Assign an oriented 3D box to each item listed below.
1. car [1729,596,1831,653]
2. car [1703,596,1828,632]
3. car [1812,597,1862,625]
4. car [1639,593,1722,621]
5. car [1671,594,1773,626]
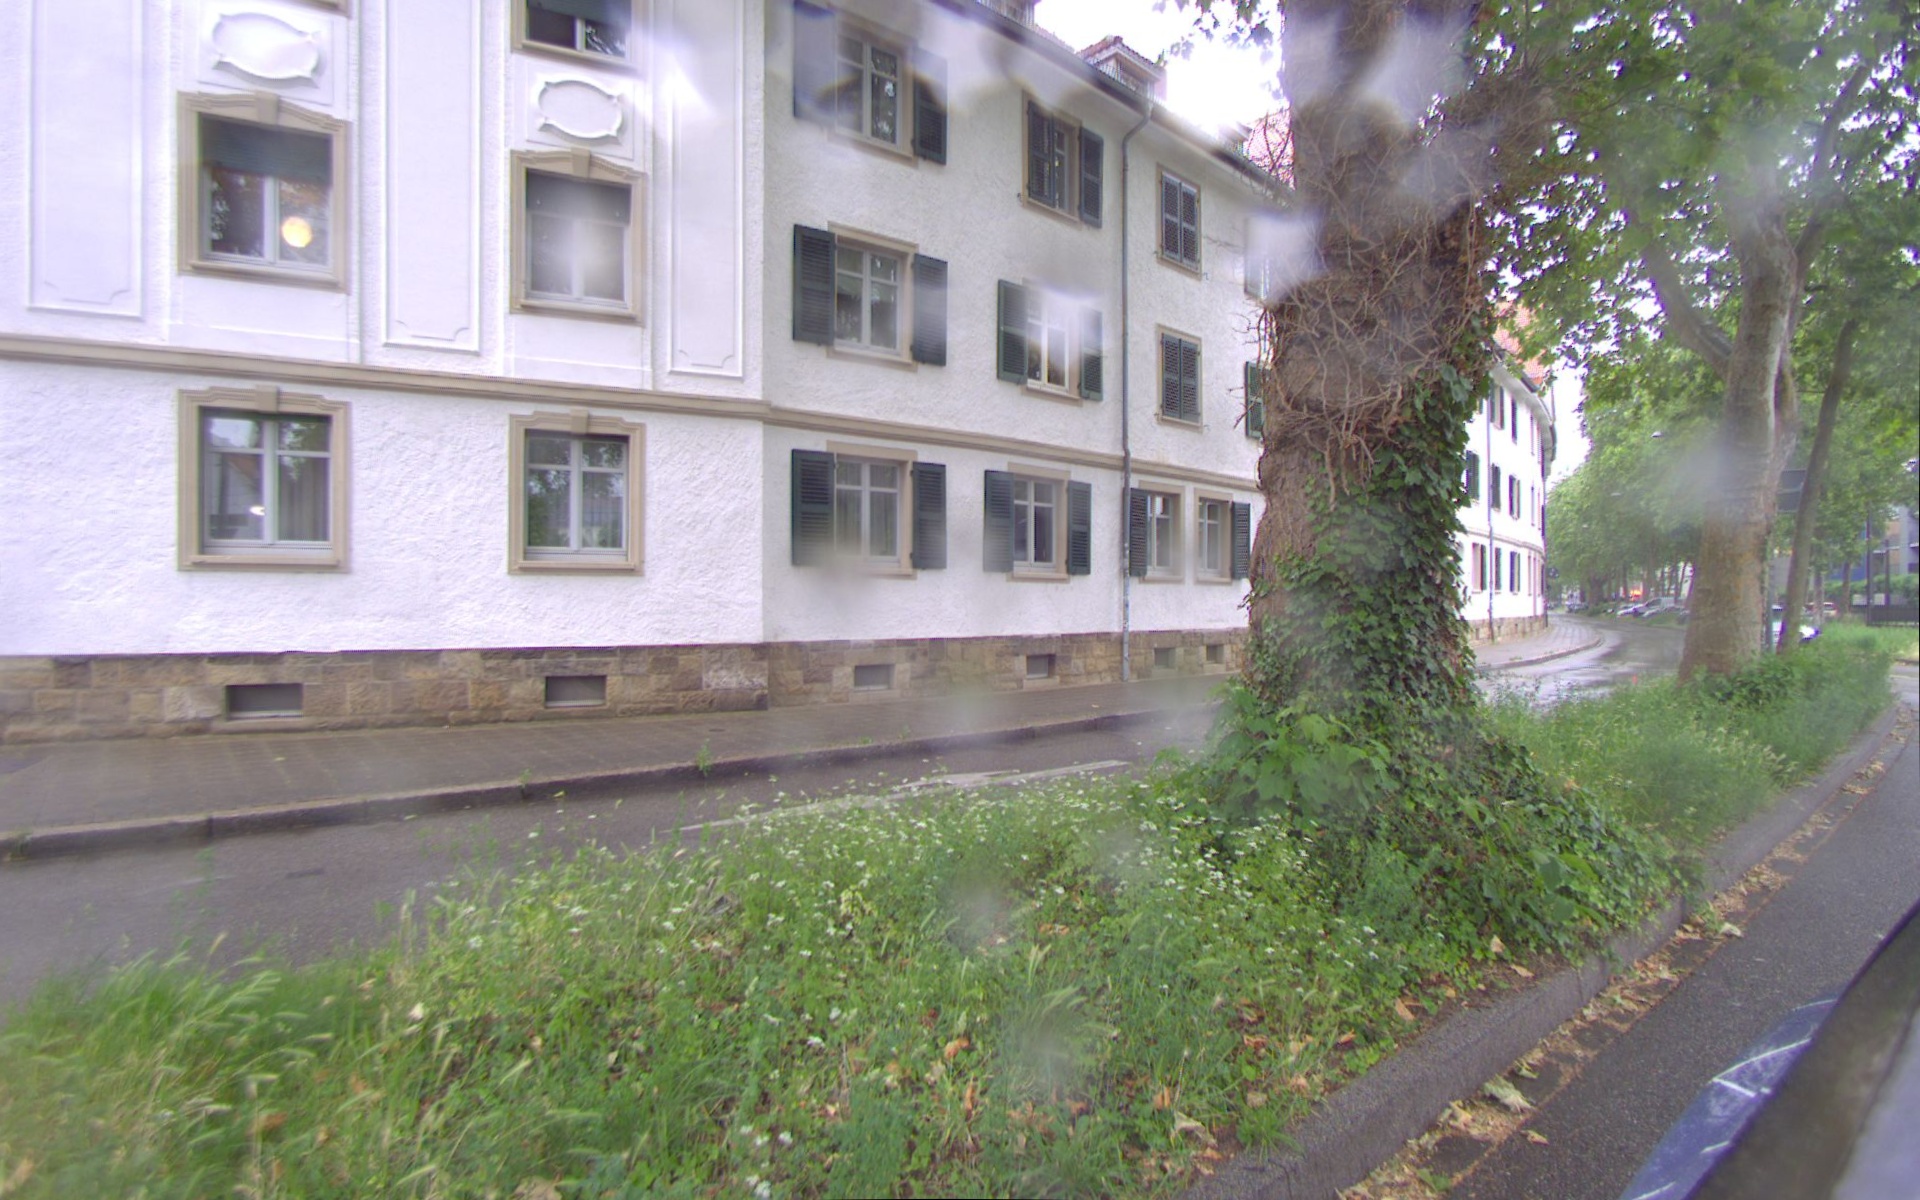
[{"bbox_3d":[25.198,0.681,31.244,1.837,1.616,4.170,0,0,31],"label":"car"},{"bbox_3d":[38.076,0.629,47.961,1.892,1.560,4.236,0,1,-30],"label":"car"},{"bbox_3d":[57.770,0.703,66.726,1.677,1.745,3.656,2,1,28],"label":"car"},{"bbox_3d":[56.572,0.499,79.575,1.960,2.039,4.899,1,1,-30],"label":"car"},{"bbox_3d":[43.527,0.537,57.874,1.715,1.632,4.335,1,1,-35],"label":"car"}]
